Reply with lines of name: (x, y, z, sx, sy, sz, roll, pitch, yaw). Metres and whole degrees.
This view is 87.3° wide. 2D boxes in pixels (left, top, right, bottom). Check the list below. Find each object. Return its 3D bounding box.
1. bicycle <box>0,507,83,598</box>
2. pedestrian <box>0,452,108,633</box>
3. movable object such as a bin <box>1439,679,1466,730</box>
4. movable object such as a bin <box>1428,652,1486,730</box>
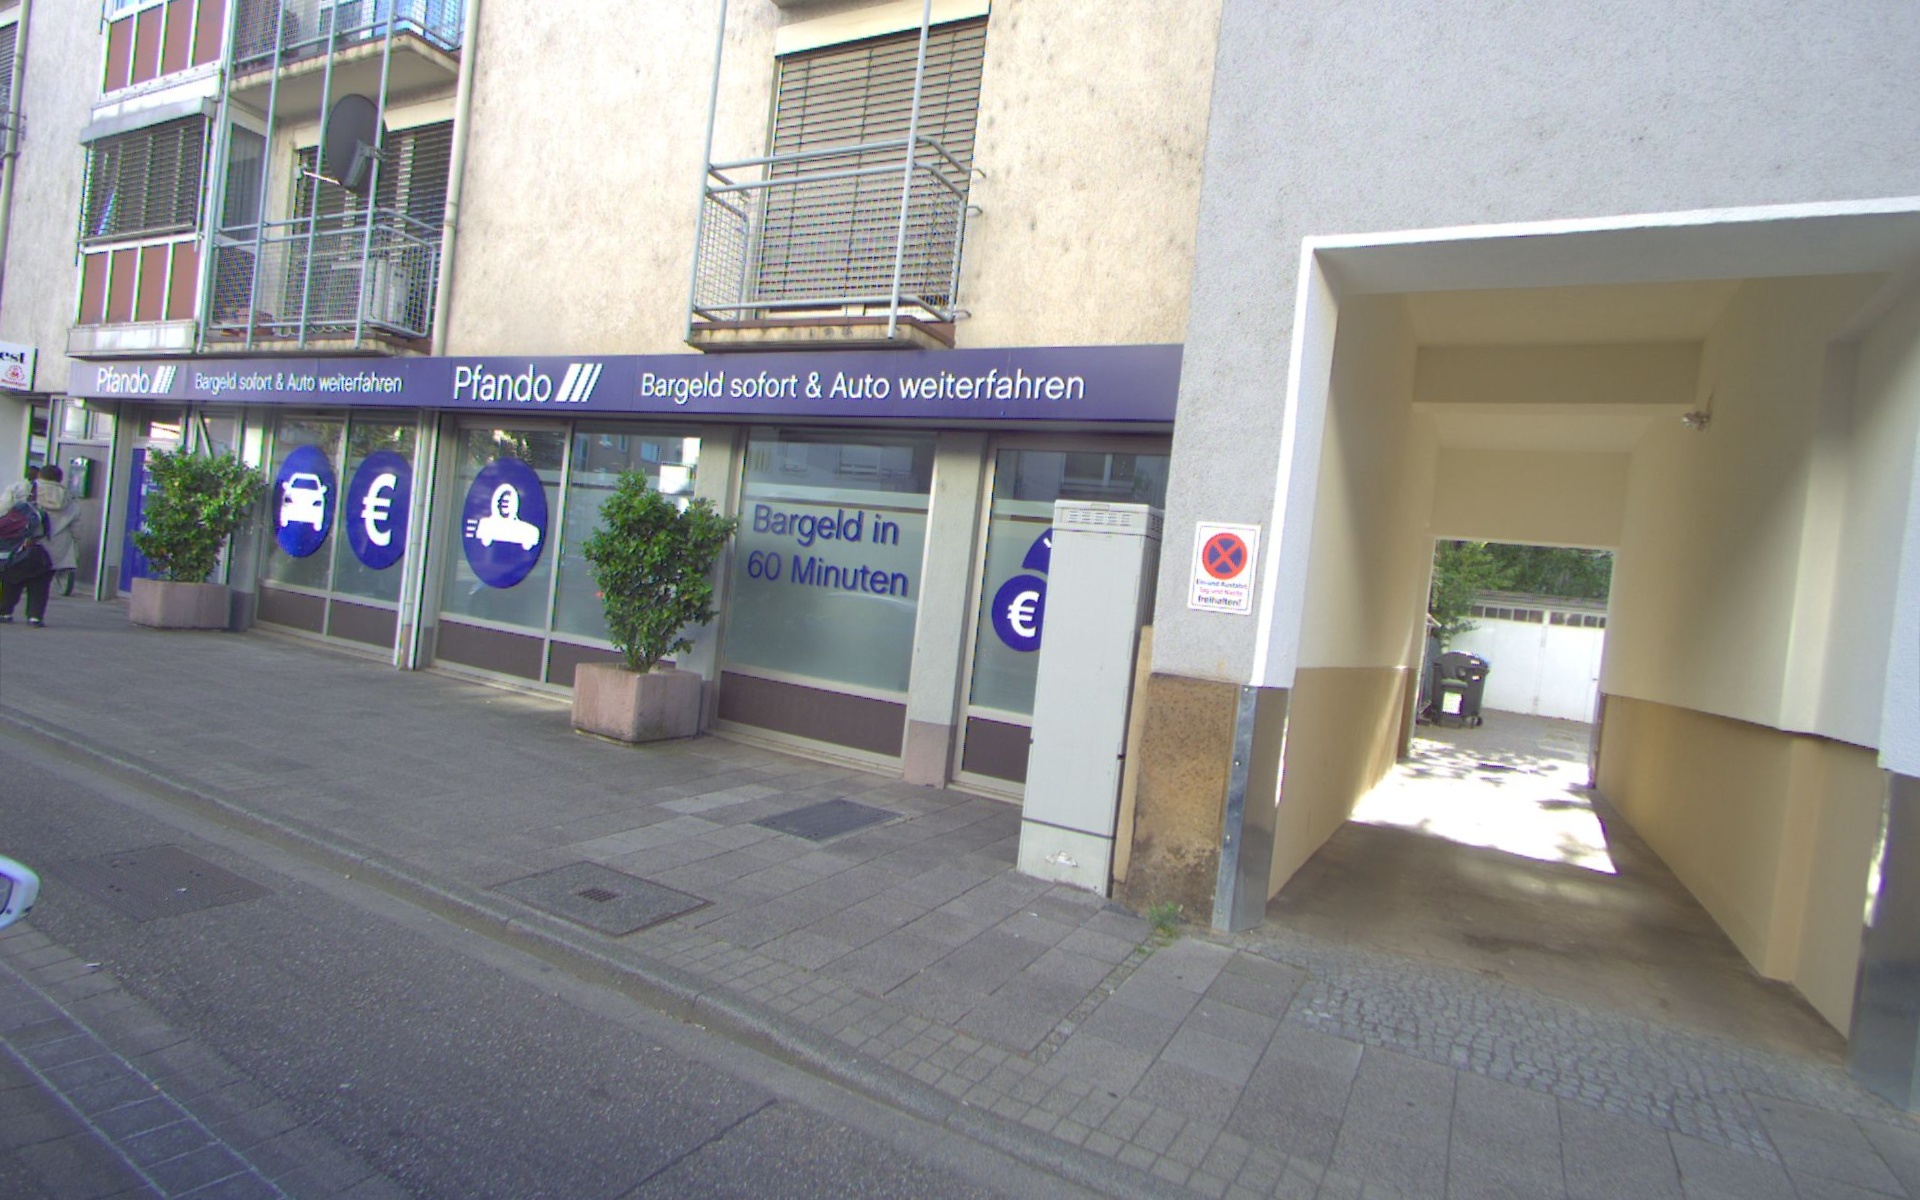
bicycle: (-11.904, -0.636, 12.821, 1.678, 1.010, 0.543, 6, -1, 32)
pedestrian: (-9.011, -0.549, 9.739, 0.738, 1.611, 0.827, 6, -1, 31)
movable object such as a bin: (9.470, 2.006, 19.349, 0.365, 0.920, 0.420, 7, 2, 28)
movable object such as a bin: (9.815, 1.778, 19.871, 0.873, 1.411, 0.758, 7, 2, 28)
